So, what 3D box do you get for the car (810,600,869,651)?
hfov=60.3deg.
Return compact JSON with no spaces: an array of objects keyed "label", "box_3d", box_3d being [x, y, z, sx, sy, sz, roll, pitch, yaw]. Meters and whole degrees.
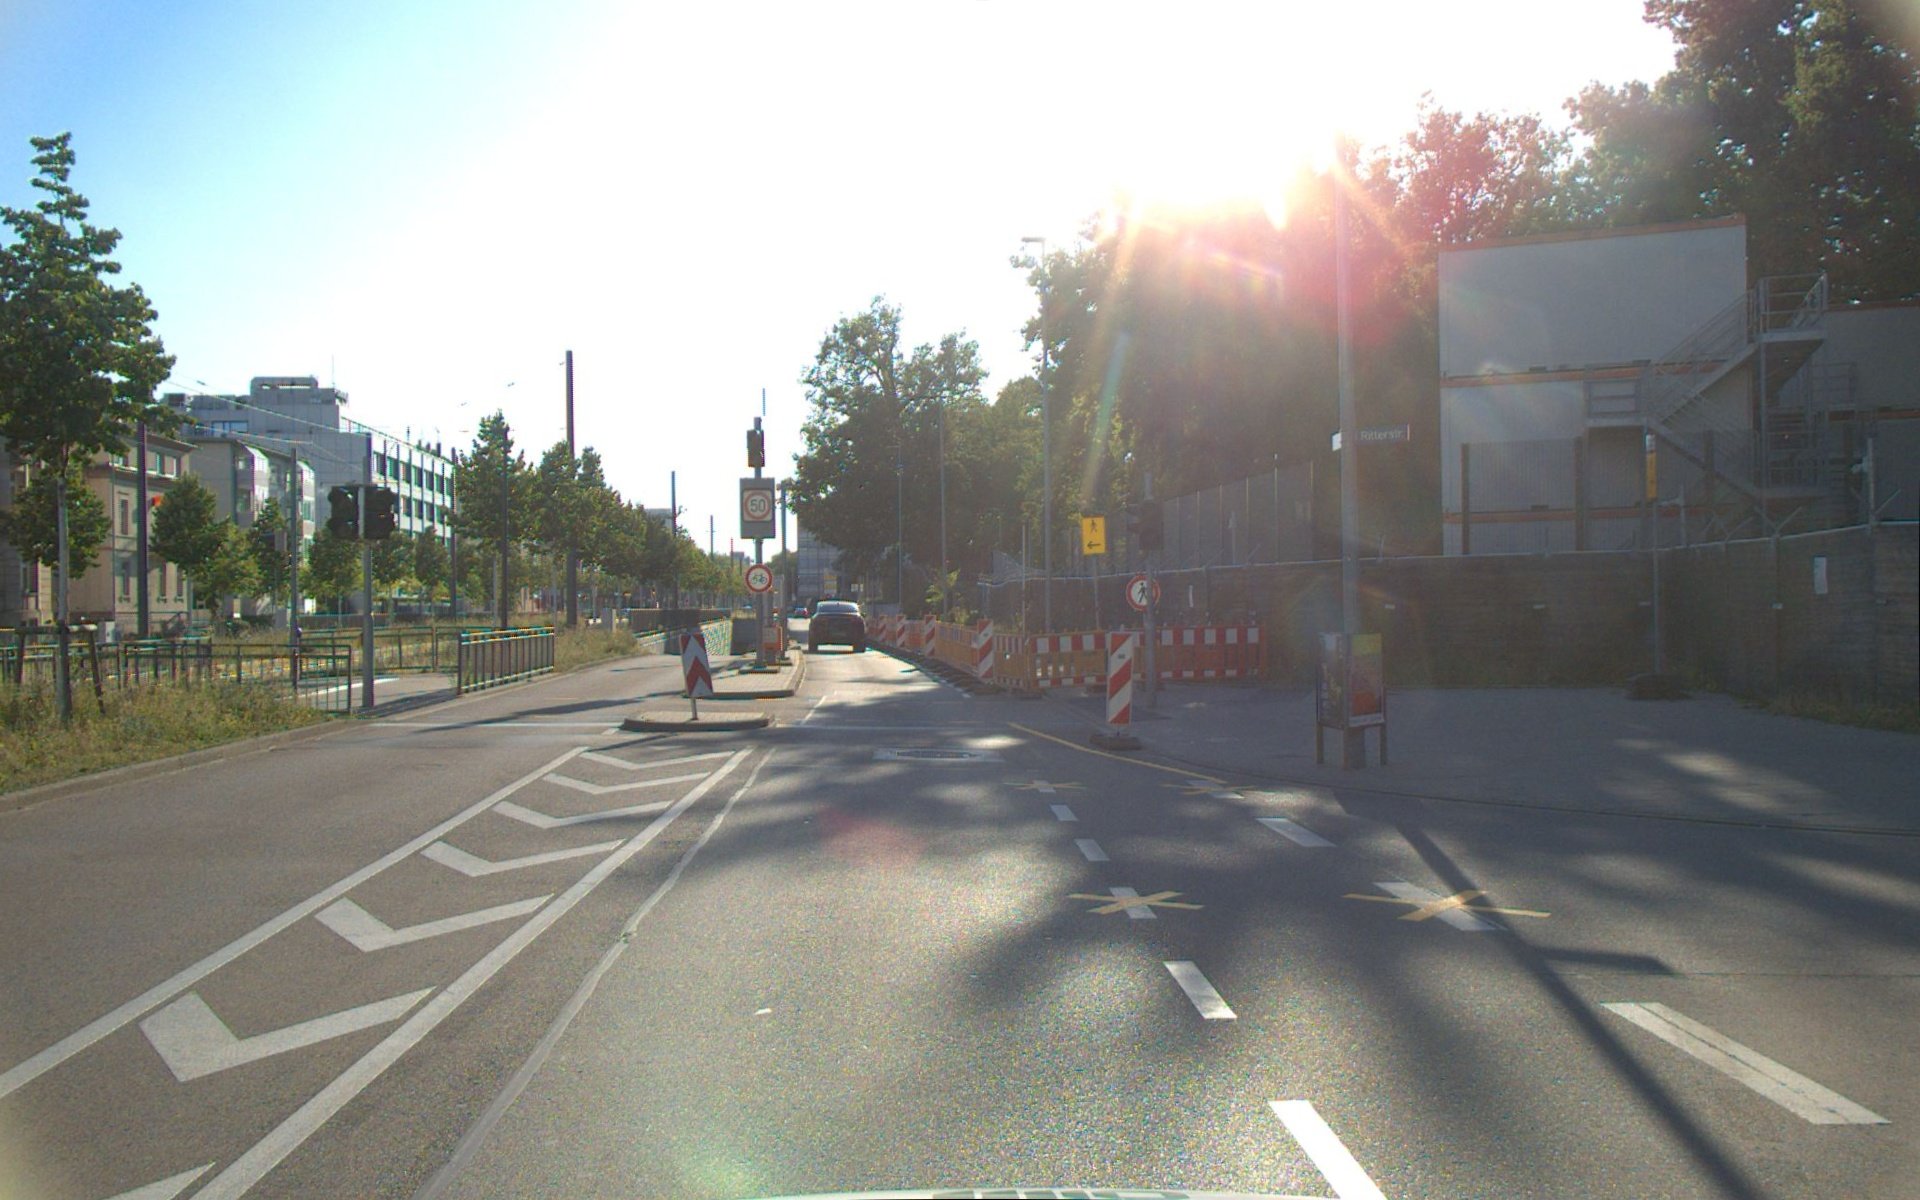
[{"label":"car","box_3d":[-4.272,0.895,58.312,1.966,1.688,3.995,1,-1,-5]}]
